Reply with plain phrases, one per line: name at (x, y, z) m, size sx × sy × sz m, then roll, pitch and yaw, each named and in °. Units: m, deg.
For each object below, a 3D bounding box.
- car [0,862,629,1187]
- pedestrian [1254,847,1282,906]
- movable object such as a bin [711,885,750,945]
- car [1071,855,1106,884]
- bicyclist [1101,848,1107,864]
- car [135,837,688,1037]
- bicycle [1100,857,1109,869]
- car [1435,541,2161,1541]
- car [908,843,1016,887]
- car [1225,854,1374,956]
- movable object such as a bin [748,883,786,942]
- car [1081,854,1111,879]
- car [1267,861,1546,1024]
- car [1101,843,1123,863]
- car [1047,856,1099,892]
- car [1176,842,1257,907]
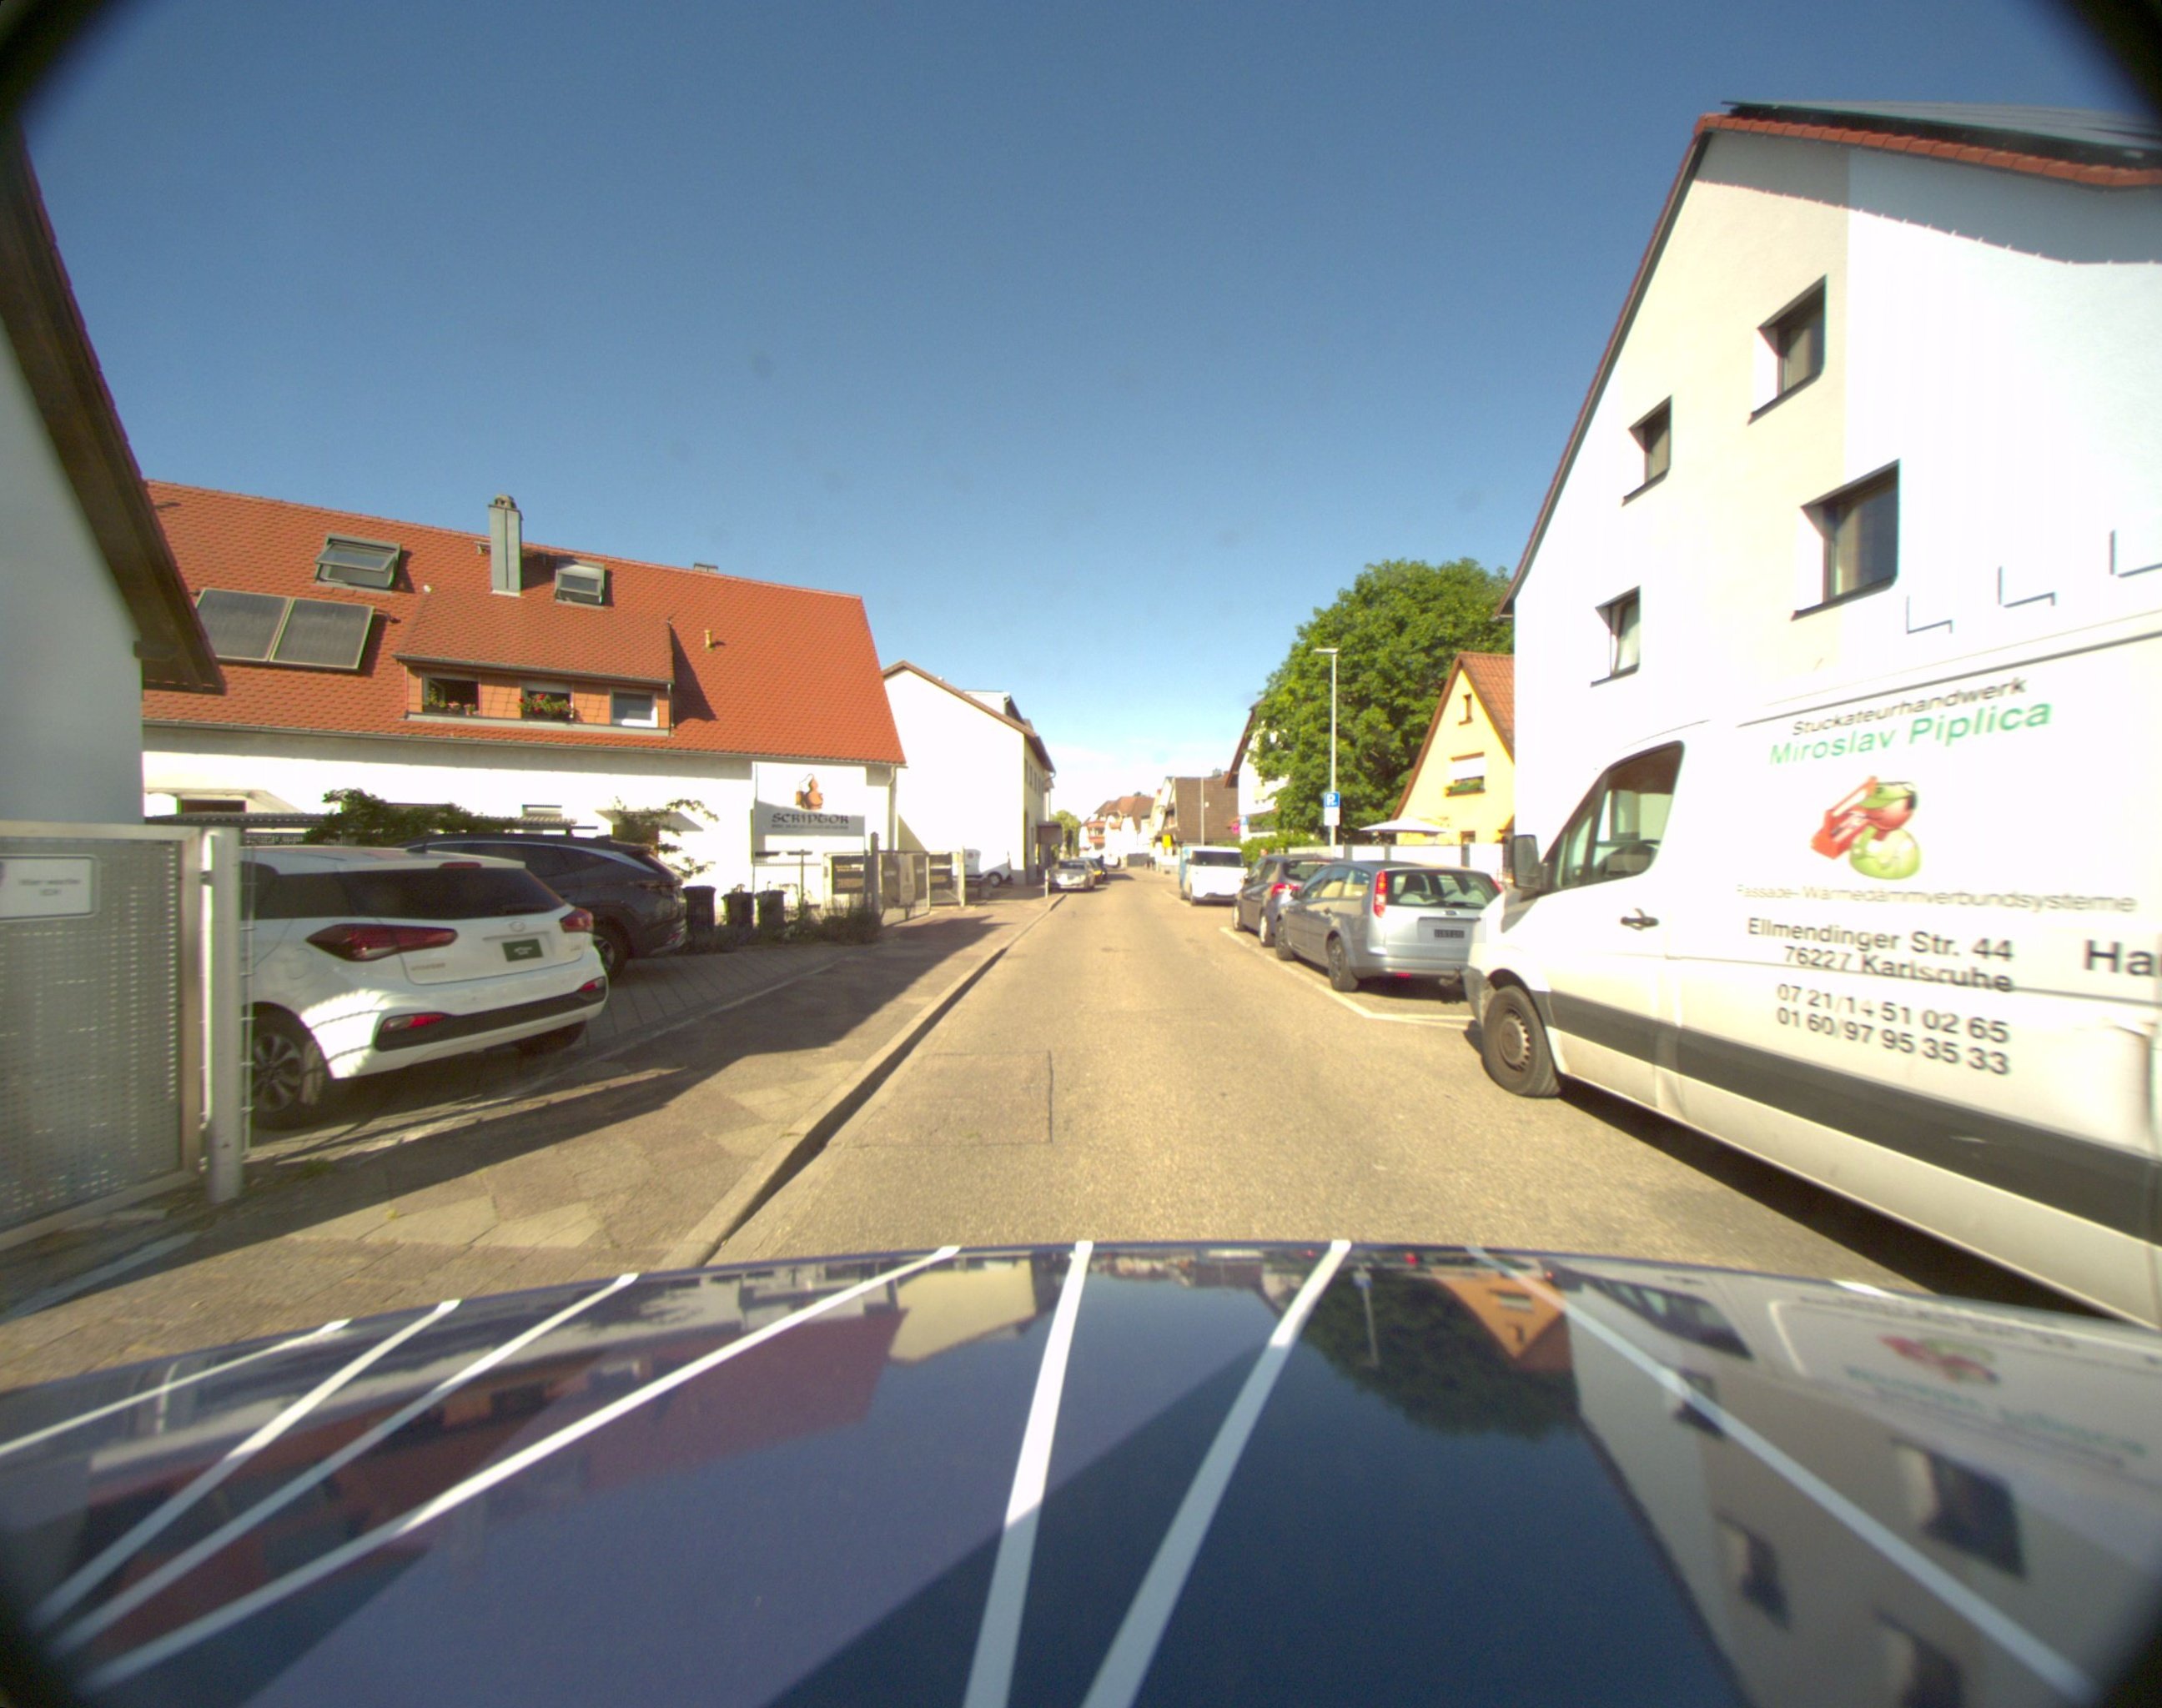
car at (-5.329, 0.826, 4.867) m, size 3.919 × 1.483 × 1.848 m, roll 0°, pitch 1°, yaw 10°
pedestrian at (5.636, 0.662, 22.984) m, size 0.618 × 1.739 × 0.884 m, roll -2°, pitch 1°, yaw 2°
movable object such as a bin at (-5.760, 0.985, 12.494) m, size 0.517 × 0.918 × 0.422 m, roll -3°, pitch 2°, yaw -28°
car at (0.427, 0.805, 42.824) m, size 1.813 × 1.466 × 4.844 m, roll -2°, pitch 0°, yaw 1°
bicyclist at (2.335, 0.225, 77.555) m, size 0.643 × 1.655 × 0.605 m, roll 0°, pitch 1°, yaw -2°
car at (-6.524, 0.710, 8.123) m, size 4.055 × 1.678 × 1.908 m, roll 0°, pitch 0°, yaw -25°
bicycle at (2.405, 0.903, 77.302) m, size 0.640 × 1.175 × 2.021 m, roll -5°, pitch 1°, yaw -2°
car at (3.698, 0.458, 2.605) m, size 2.202 × 2.376 × 6.064 m, roll 1°, pitch 0°, yaw 1°
car at (-5.512, 0.502, 35.523) m, size 4.777 × 1.875 × 1.907 m, roll 2°, pitch 0°, yaw -8°
car at (3.839, 0.817, 14.025) m, size 1.719 × 1.589 × 3.925 m, roll 0°, pitch 0°, yaw 2°
movable object such as a bin at (-5.270, 0.968, 12.745) m, size 0.517 × 0.918 × 0.422 m, roll -3°, pitch 2°, yaw -28°
car at (0.954, 0.764, 49.050) m, size 1.813 × 1.466 × 4.844 m, roll -2°, pitch 0°, yaw 1°
car at (3.630, 0.867, 9.402) m, size 1.716 × 1.495 × 4.235 m, roll 1°, pitch 0°, yaw 1°
car at (3.980, -0.162, 98.057) m, size 2.259 × 2.456 × 5.514 m, roll 0°, pitch 0°, yaw -3°
car at (-0.285, 0.855, 34.176) m, size 1.815 × 1.467 × 4.661 m, roll 0°, pitch 0°, yaw 6°
car at (4.301, 0.599, 24.871) m, size 1.907 × 1.906 × 5.070 m, roll 0°, pitch 0°, yaw 2°
